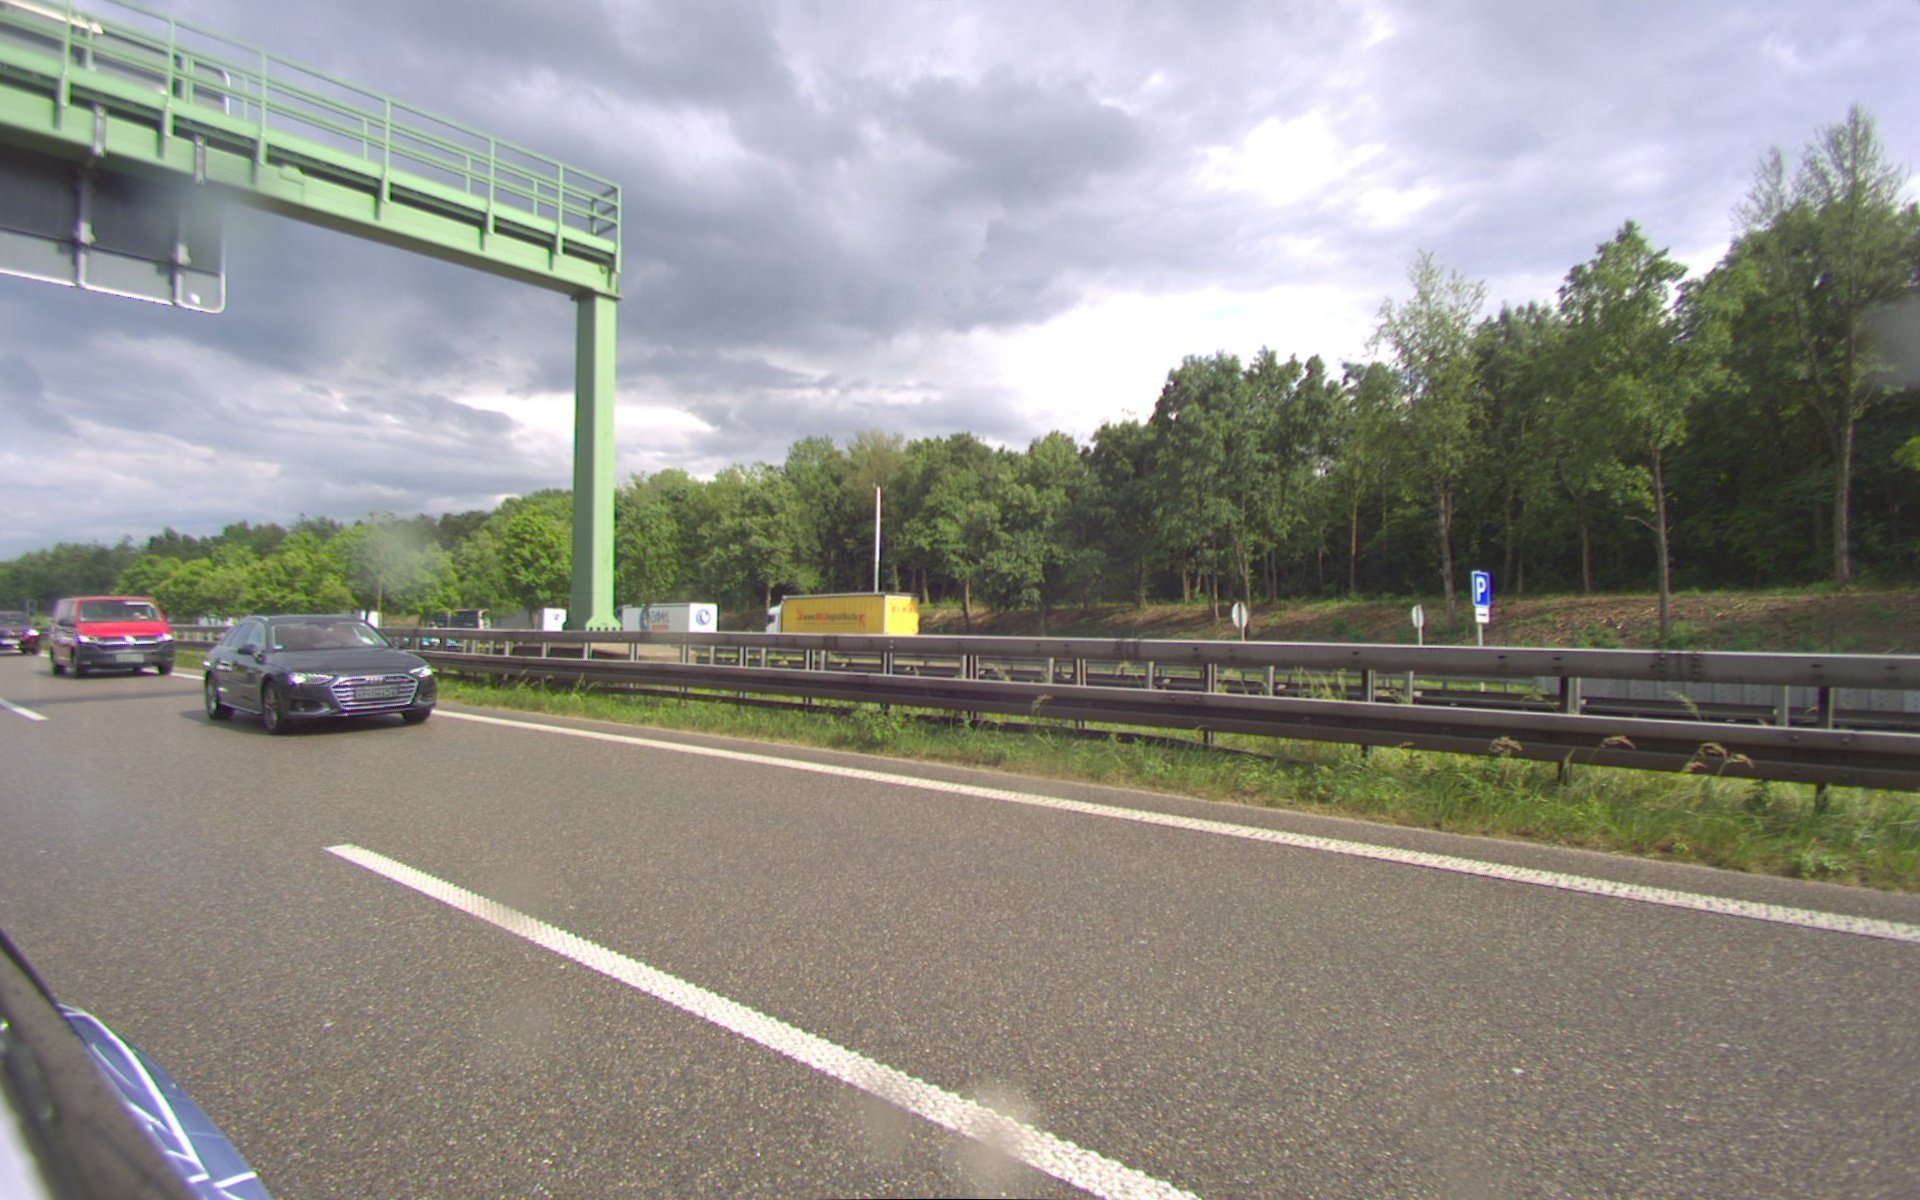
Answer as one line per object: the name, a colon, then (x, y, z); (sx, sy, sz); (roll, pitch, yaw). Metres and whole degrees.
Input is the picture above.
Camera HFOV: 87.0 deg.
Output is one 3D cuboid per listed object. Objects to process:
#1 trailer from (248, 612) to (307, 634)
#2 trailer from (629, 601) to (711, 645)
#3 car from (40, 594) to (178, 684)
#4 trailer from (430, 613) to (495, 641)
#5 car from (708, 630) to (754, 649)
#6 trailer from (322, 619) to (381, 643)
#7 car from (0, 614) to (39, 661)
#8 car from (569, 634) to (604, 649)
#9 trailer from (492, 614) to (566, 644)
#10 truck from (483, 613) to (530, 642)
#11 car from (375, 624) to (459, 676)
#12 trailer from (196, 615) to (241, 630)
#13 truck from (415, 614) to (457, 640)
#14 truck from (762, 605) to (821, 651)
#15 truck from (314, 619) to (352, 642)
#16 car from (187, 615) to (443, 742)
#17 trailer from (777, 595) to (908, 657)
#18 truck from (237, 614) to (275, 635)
trailer: (-110.123, 3.709, 163.243); (13.375, 3.296, 3.050); (-1, -2, 34)
trailer: (-26.000, 2.082, 90.252); (2.156, 3.627, 11.734); (2, -2, -41)
car: (-21.008, 0.910, 24.912); (4.747, 2.000, 1.871); (-1, -1, 41)
trailer: (-62.632, 3.376, 127.128); (12.640, 3.296, 2.577); (-1, -3, 41)
car: (-18.425, 3.168, 81.282); (1.871, 1.514, 4.005); (2, -2, -41)
trailer: (-89.672, 4.534, 148.945); (12.632, 3.296, 3.153); (-1, -3, 38)
car: (-36.675, 1.404, 38.516); (4.292, 1.682, 1.871); (-1, -1, 41)
car: (-38.206, 4.236, 103.542); (4.002, 1.514, 1.873); (-1, -3, 45)
trailer: (-48.954, 3.247, 114.821); (12.173, 3.217, 2.986); (-1, -3, 43)
truck: (-53.277, 3.238, 118.874); (5.596, 3.208, 3.009); (-1, -3, 43)
car: (-23.171, 2.092, 43.104); (3.998, 2.029, 1.813); (-1, 1, 41)
trailer: (-127.663, 3.818, 174.173); (9.839, 2.594, 2.511); (-1, -1, 30)
truck: (-68.470, 3.479, 132.188); (6.532, 3.275, 2.549); (-1, -2, 41)
truck: (-12.085, 1.952, 72.357); (1.950, 3.121, 5.087); (-1, 0, -37)
truck: (-94.879, 4.628, 153.098); (5.385, 3.280, 3.142); (-1, -3, 39)
car: (-8.773, 0.927, 13.599); (4.465, 1.422, 1.701); (-1, -1, 41)
trailer: (-8.109, 1.599, 67.036); (1.967, 3.723, 13.689); (0, 0, -37)
truck: (-116.706, 4.038, 167.752); (6.081, 3.280, 3.047); (0, -3, 34)
